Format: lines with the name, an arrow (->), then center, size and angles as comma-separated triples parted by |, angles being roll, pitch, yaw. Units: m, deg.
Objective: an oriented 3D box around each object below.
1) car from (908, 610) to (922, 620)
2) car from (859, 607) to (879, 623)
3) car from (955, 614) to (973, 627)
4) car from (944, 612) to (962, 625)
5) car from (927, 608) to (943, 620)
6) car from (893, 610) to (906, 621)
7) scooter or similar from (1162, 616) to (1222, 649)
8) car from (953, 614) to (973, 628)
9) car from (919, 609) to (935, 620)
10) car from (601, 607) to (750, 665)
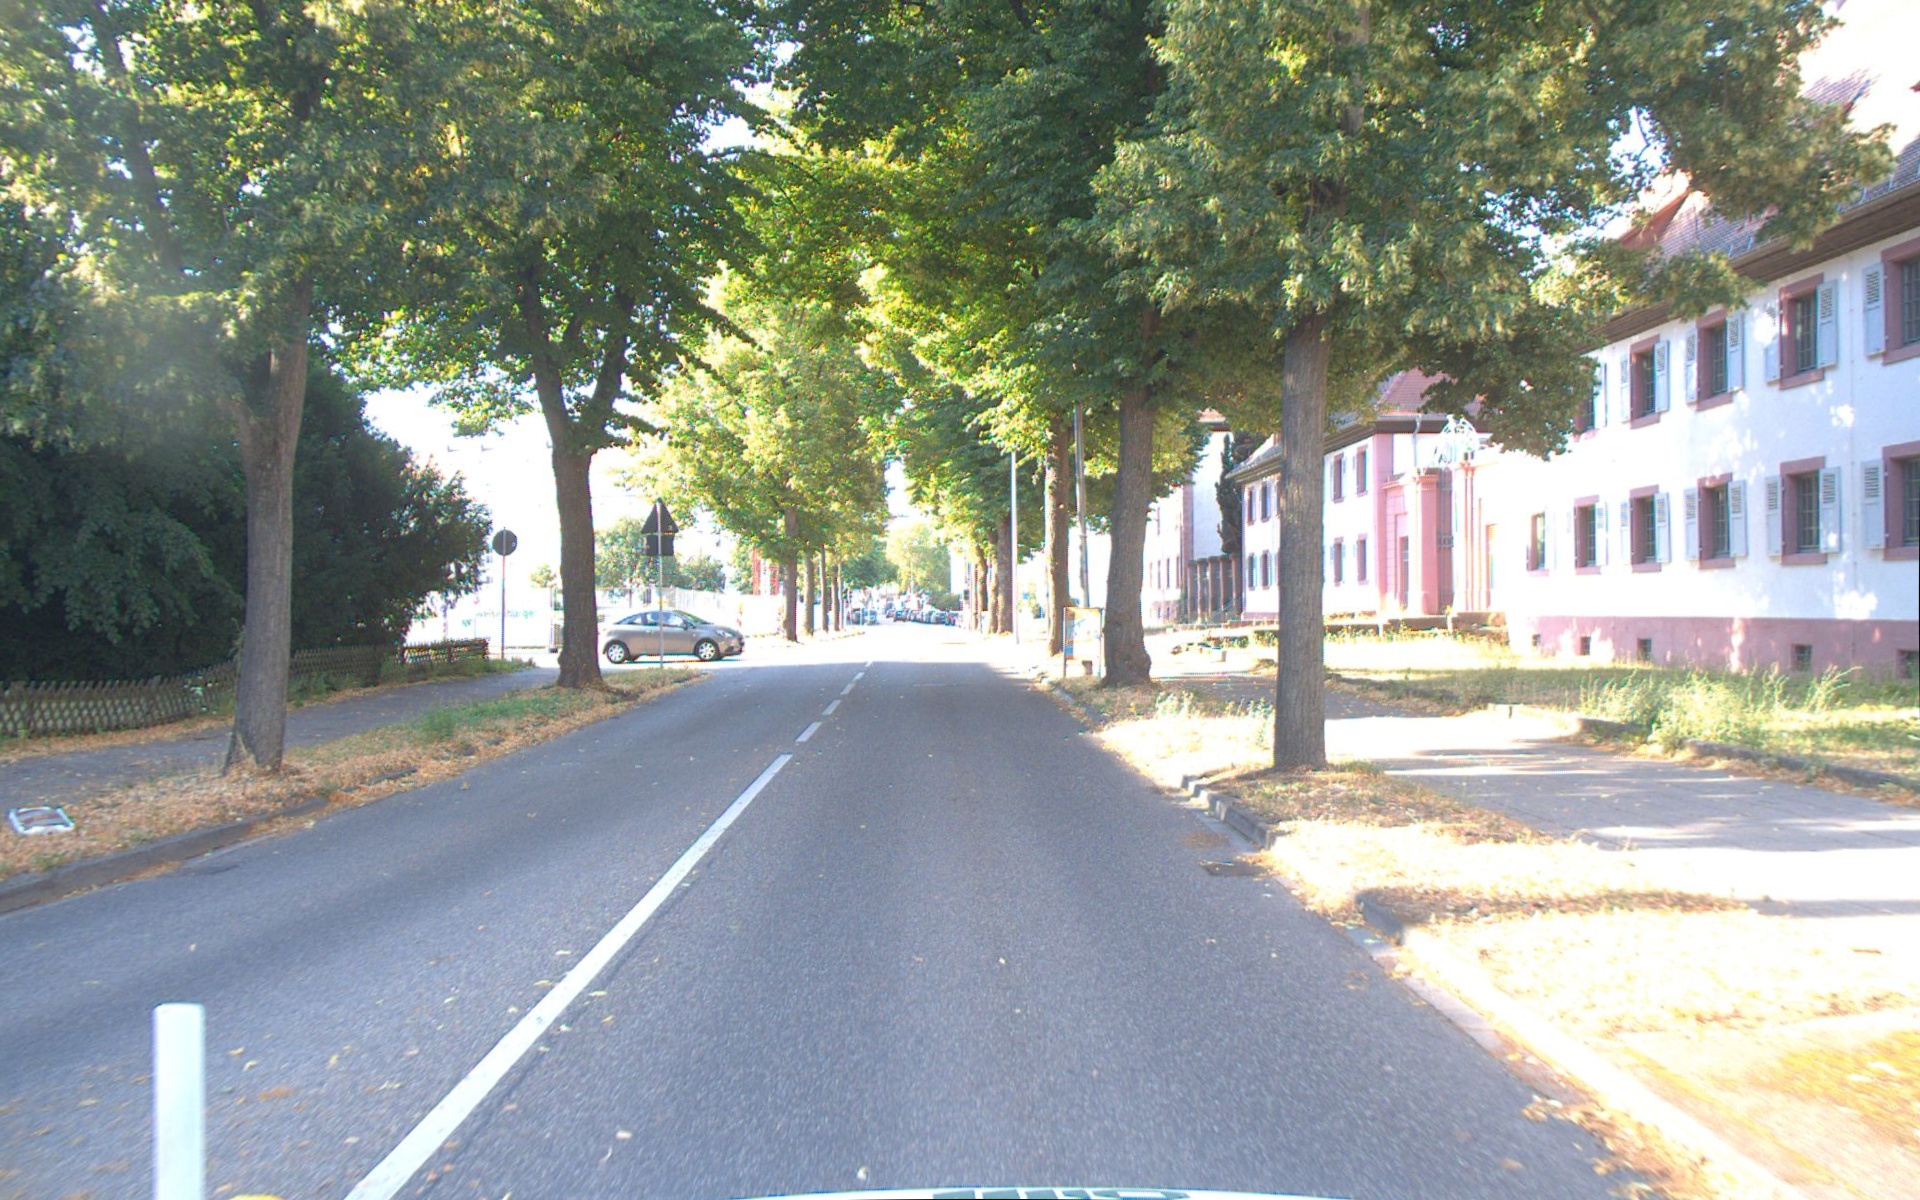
car -> -6.539, 2.202, 242.308 | 1.805, 1.410, 3.996 | -2, -1, -5
car -> -10.246, 1.695, 185.740 | 1.955, 1.717, 3.994 | -1, -1, -7
car -> 0.418, 2.155, 174.027 | 1.804, 1.283, 3.999 | -1, 0, -1
car -> -0.775, 2.039, 180.616 | 1.804, 1.283, 3.998 | -2, -1, -2
car -> -3.182, 1.813, 209.986 | 1.805, 1.410, 3.996 | -2, -1, -5
car -> -8.807, 2.230, 239.349 | 1.681, 1.512, 3.996 | -2, -1, -5
scooter or similar -> 5.518, 0.769, 39.459 | 1.202, 0.557, 1.063 | -10, 0, -2
car -> 0.280, 2.054, 163.639 | 1.804, 1.283, 3.998 | -2, -1, -2
car -> -4.425, 1.941, 221.760 | 1.805, 1.410, 3.996 | -1, 0, -5
car -> -7.751, 0.960, 45.298 | 3.764, 1.499, 1.651 | -1, 0, 1
